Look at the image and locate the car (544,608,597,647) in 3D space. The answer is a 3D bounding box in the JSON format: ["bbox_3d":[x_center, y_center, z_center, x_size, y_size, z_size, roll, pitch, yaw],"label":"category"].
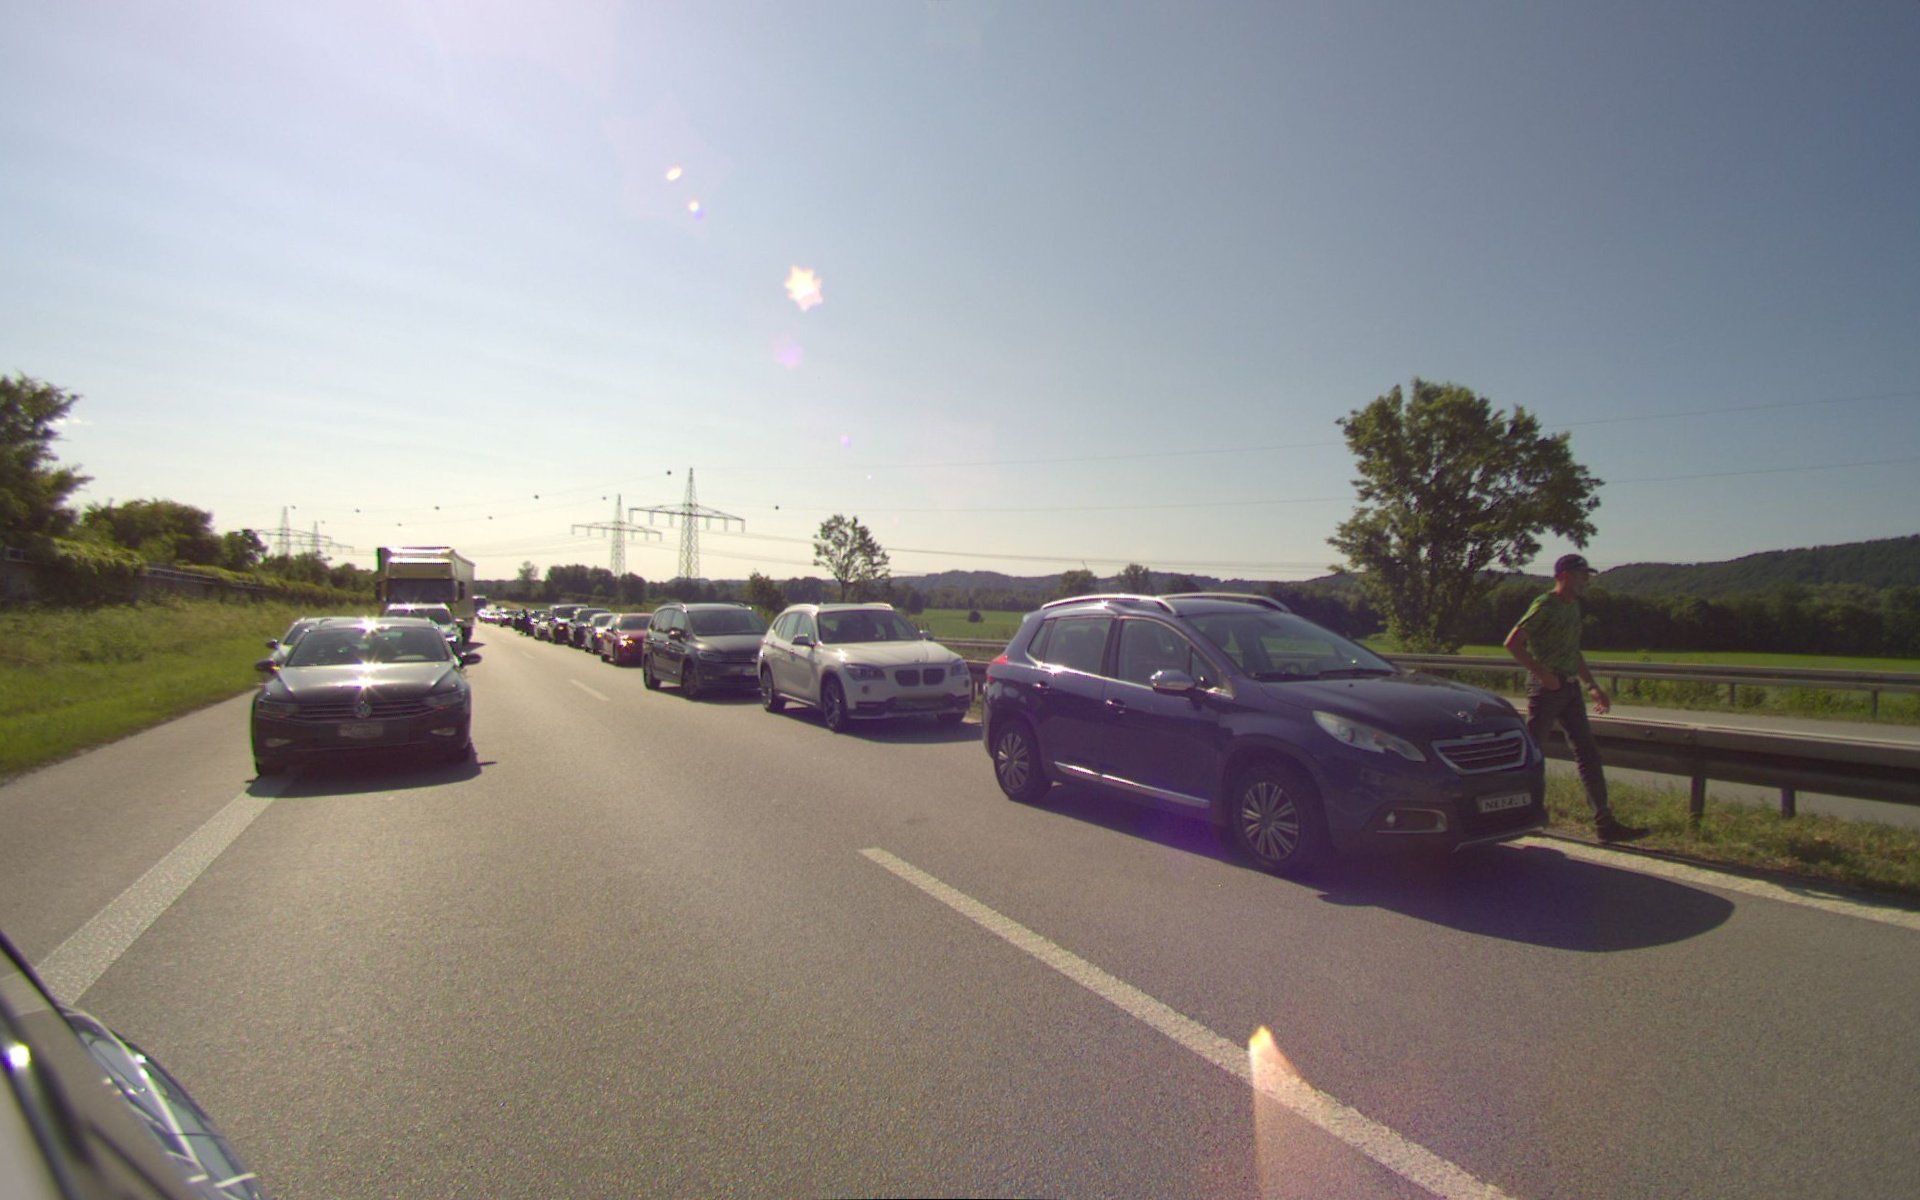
[{"bbox_3d":[-18.810,1.320,48.727,1.870,1.801,4.213,1,-1,-28],"label":"car"}]

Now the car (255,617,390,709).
[{"bbox_3d":[-11.590,1.058,18.632,1.688,1.436,4.339,-1,-1,-27],"label":"car"}]

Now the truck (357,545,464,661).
[{"bbox_3d":[-21.445,0.101,39.894,3.278,4.144,6.993,-1,0,-25],"label":"truck"}]

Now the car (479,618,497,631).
[{"bbox_3d":[-54.262,2.828,116.277,1.789,1.470,4.131,-1,-1,-26],"label":"car"}]

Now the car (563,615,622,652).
[{"bbox_3d":[-15.531,1.375,42.659,1.862,1.466,4.013,1,-1,-27],"label":"car"}]

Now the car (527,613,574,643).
[{"bbox_3d":[-22.282,1.500,55.030,1.965,1.542,4.013,1,-1,-28],"label":"car"}]

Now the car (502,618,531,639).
[{"bbox_3d":[-33.010,2.062,75.222,1.789,1.470,4.131,-1,-1,-26],"label":"car"}]

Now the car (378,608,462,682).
[{"bbox_3d":[-13.288,1.044,25.045,1.688,1.636,4.339,-1,-1,-27],"label":"car"}]

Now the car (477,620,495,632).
[{"bbox_3d":[-56.837,3.103,121.316,1.789,1.470,4.131,1,-1,-26],"label":"car"}]

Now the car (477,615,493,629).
[{"bbox_3d":[-60.908,2.793,129.770,1.783,1.807,3.785,1,-1,-27],"label":"car"}]

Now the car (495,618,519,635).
[{"bbox_3d":[-40.671,2.376,90.779,1.789,1.470,4.131,1,-1,-26],"label":"car"}]

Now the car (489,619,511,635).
[{"bbox_3d":[-44.676,2.584,98.223,1.789,1.470,4.130,-1,-1,-27],"label":"car"}]

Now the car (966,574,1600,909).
[{"bbox_3d":[1.777,0.679,6.841,1.664,1.546,3.960,-1,0,-30],"label":"car"}]

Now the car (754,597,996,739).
[{"bbox_3d":[-1.316,0.792,13.564,1.802,1.586,4.177,0,-1,-26],"label":"car"}]

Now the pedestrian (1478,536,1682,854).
[{"bbox_3d":[3.745,0.538,6.152,0.661,1.763,0.817,1,-2,-26],"label":"pedestrian"}]

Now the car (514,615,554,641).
[{"bbox_3d":[-26.646,1.736,63.267,1.965,1.542,4.013,1,-1,-28],"label":"car"}]

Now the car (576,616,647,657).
[{"bbox_3d":[-12.839,1.306,37.172,1.863,1.409,4.013,1,-1,-28],"label":"car"}]

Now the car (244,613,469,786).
[{"bbox_3d":[-6.245,0.877,10.843,1.688,1.424,4.339,-1,-1,-27],"label":"car"}]

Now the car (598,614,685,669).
[{"bbox_3d":[-9.252,1.155,29.202,1.789,1.470,4.131,1,-1,-26],"label":"car"}]

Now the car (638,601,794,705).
[{"bbox_3d":[-4.536,0.876,18.359,1.789,1.628,4.130,-1,-1,-28],"label":"car"}]

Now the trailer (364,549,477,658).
[{"bbox_3d":[-23.879,0.144,45.520,3.331,4.144,13.999,-1,0,-23],"label":"trailer"}]
